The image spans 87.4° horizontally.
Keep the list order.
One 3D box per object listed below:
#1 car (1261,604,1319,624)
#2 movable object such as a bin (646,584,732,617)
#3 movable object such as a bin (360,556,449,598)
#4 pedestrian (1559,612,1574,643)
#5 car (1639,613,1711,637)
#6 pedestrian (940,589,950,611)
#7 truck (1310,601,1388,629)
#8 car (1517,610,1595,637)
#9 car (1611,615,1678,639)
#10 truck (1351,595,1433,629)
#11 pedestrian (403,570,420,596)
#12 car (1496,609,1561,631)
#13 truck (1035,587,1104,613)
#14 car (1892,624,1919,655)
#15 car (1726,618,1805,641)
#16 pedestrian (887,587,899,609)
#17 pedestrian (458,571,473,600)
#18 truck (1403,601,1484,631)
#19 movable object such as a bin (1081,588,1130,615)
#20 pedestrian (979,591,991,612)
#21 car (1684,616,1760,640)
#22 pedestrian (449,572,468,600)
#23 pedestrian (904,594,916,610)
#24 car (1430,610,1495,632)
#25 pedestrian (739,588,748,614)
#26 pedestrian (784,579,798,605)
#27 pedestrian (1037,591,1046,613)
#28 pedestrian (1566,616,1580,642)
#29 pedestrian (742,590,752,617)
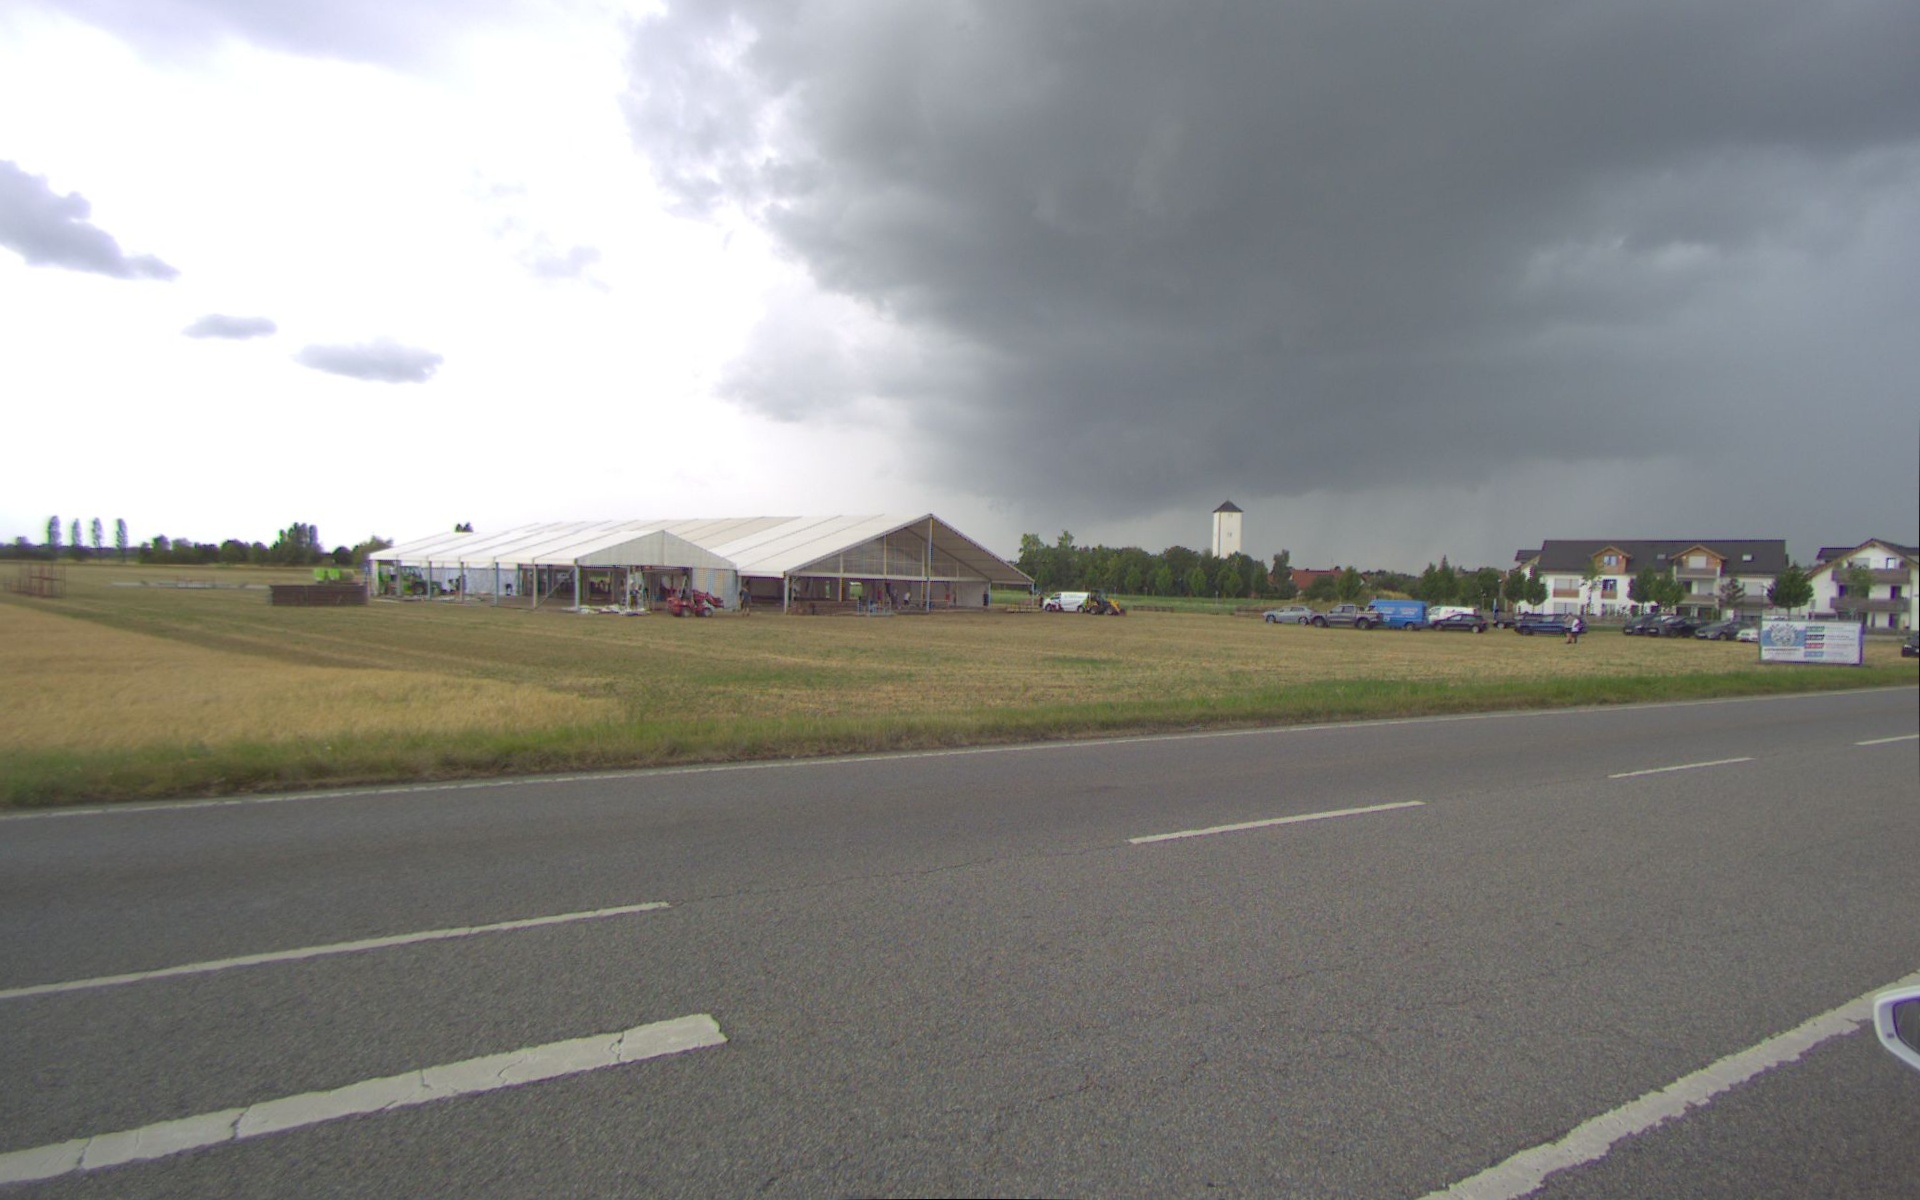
[{"bbox_3d":[27.170,1.140,82.726,4.236,1.481,1.886,2,0,34],"label":"car"},{"bbox_3d":[-16.531,0.061,61.493,2.555,1.889,4.457,2,0,37],"label":"movable object such as a bin"},{"bbox_3d":[-47.434,-1.998,85.725,7.466,3.220,4.139,3,1,40],"label":"movable object such as a bin"},{"bbox_3d":[36.706,1.666,60.768,0.673,1.809,0.543,1,1,-42],"label":"pedestrian"},{"bbox_3d":[52.367,1.840,73.563,4.138,1.651,1.995,1,0,-12],"label":"car"},{"bbox_3d":[-1.323,0.000,86.156,0.683,1.799,0.688,1,1,-14],"label":"pedestrian"},{"bbox_3d":[29.476,1.116,76.097,5.155,1.946,2.106,2,1,34],"label":"truck"},{"bbox_3d":[43.596,1.710,73.505,4.659,1.720,1.991,2,1,40],"label":"car"},{"bbox_3d":[52.704,2.072,77.354,4.138,1.651,1.995,1,0,-12],"label":"car"},{"bbox_3d":[33.367,0.905,77.619,5.379,2.478,2.385,2,1,37],"label":"truck"},{"bbox_3d":[-42.935,-1.319,78.603,1.010,2.040,0.803,2,1,40],"label":"pedestrian"},{"bbox_3d":[49.164,1.710,86.870,4.570,1.720,1.991,2,1,40],"label":"car"},{"bbox_3d":[10.392,0.008,95.680,5.960,2.246,2.713,2,1,33],"label":"truck"},{"bbox_3d":[49.350,2.029,51.438,3.969,1.461,1.976,0,1,-41],"label":"car"},{"bbox_3d":[54.521,1.989,67.982,4.138,1.465,1.995,1,0,-12],"label":"car"},{"bbox_3d":[-5.566,-0.196,84.026,0.689,1.799,0.682,1,1,-41],"label":"pedestrian"},{"bbox_3d":[-37.540,-1.117,76.200,0.930,2.130,0.860,1,1,-31],"label":"pedestrian"},{"bbox_3d":[39.436,1.245,82.016,5.494,2.226,2.597,2,1,37],"label":"truck"},{"bbox_3d":[12.971,0.130,89.624,3.928,2.273,1.881,2,1,32],"label":"movable object such as a bin"},{"bbox_3d":[2.137,0.153,86.313,0.684,1.799,0.687,2,1,40],"label":"pedestrian"},{"bbox_3d":[53.521,1.969,70.590,4.138,1.556,1.995,1,0,-12],"label":"car"},{"bbox_3d":[-37.271,-1.059,74.656,1.005,2.040,0.806,2,1,-2],"label":"pedestrian"},{"bbox_3d":[-4.075,0.136,82.609,0.689,1.288,0.682,1,1,-41],"label":"pedestrian"},{"bbox_3d":[38.744,1.595,77.525,4.105,1.539,1.991,2,1,40],"label":"car"},{"bbox_3d":[-13.813,0.081,64.090,0.574,1.649,0.469,1,1,-13],"label":"pedestrian"},{"bbox_3d":[-13.556,-0.637,80.685,0.868,2.040,0.761,1,1,-33],"label":"pedestrian"},{"bbox_3d":[7.208,0.166,89.053,0.694,1.890,0.626,2,1,6],"label":"pedestrian"},{"bbox_3d":[37.451,1.759,61.333,0.582,1.576,0.623,2,1,41],"label":"pedestrian"},{"bbox_3d":[-13.324,0.205,62.894,0.541,1.649,0.546,2,1,-6],"label":"pedestrian"}]
